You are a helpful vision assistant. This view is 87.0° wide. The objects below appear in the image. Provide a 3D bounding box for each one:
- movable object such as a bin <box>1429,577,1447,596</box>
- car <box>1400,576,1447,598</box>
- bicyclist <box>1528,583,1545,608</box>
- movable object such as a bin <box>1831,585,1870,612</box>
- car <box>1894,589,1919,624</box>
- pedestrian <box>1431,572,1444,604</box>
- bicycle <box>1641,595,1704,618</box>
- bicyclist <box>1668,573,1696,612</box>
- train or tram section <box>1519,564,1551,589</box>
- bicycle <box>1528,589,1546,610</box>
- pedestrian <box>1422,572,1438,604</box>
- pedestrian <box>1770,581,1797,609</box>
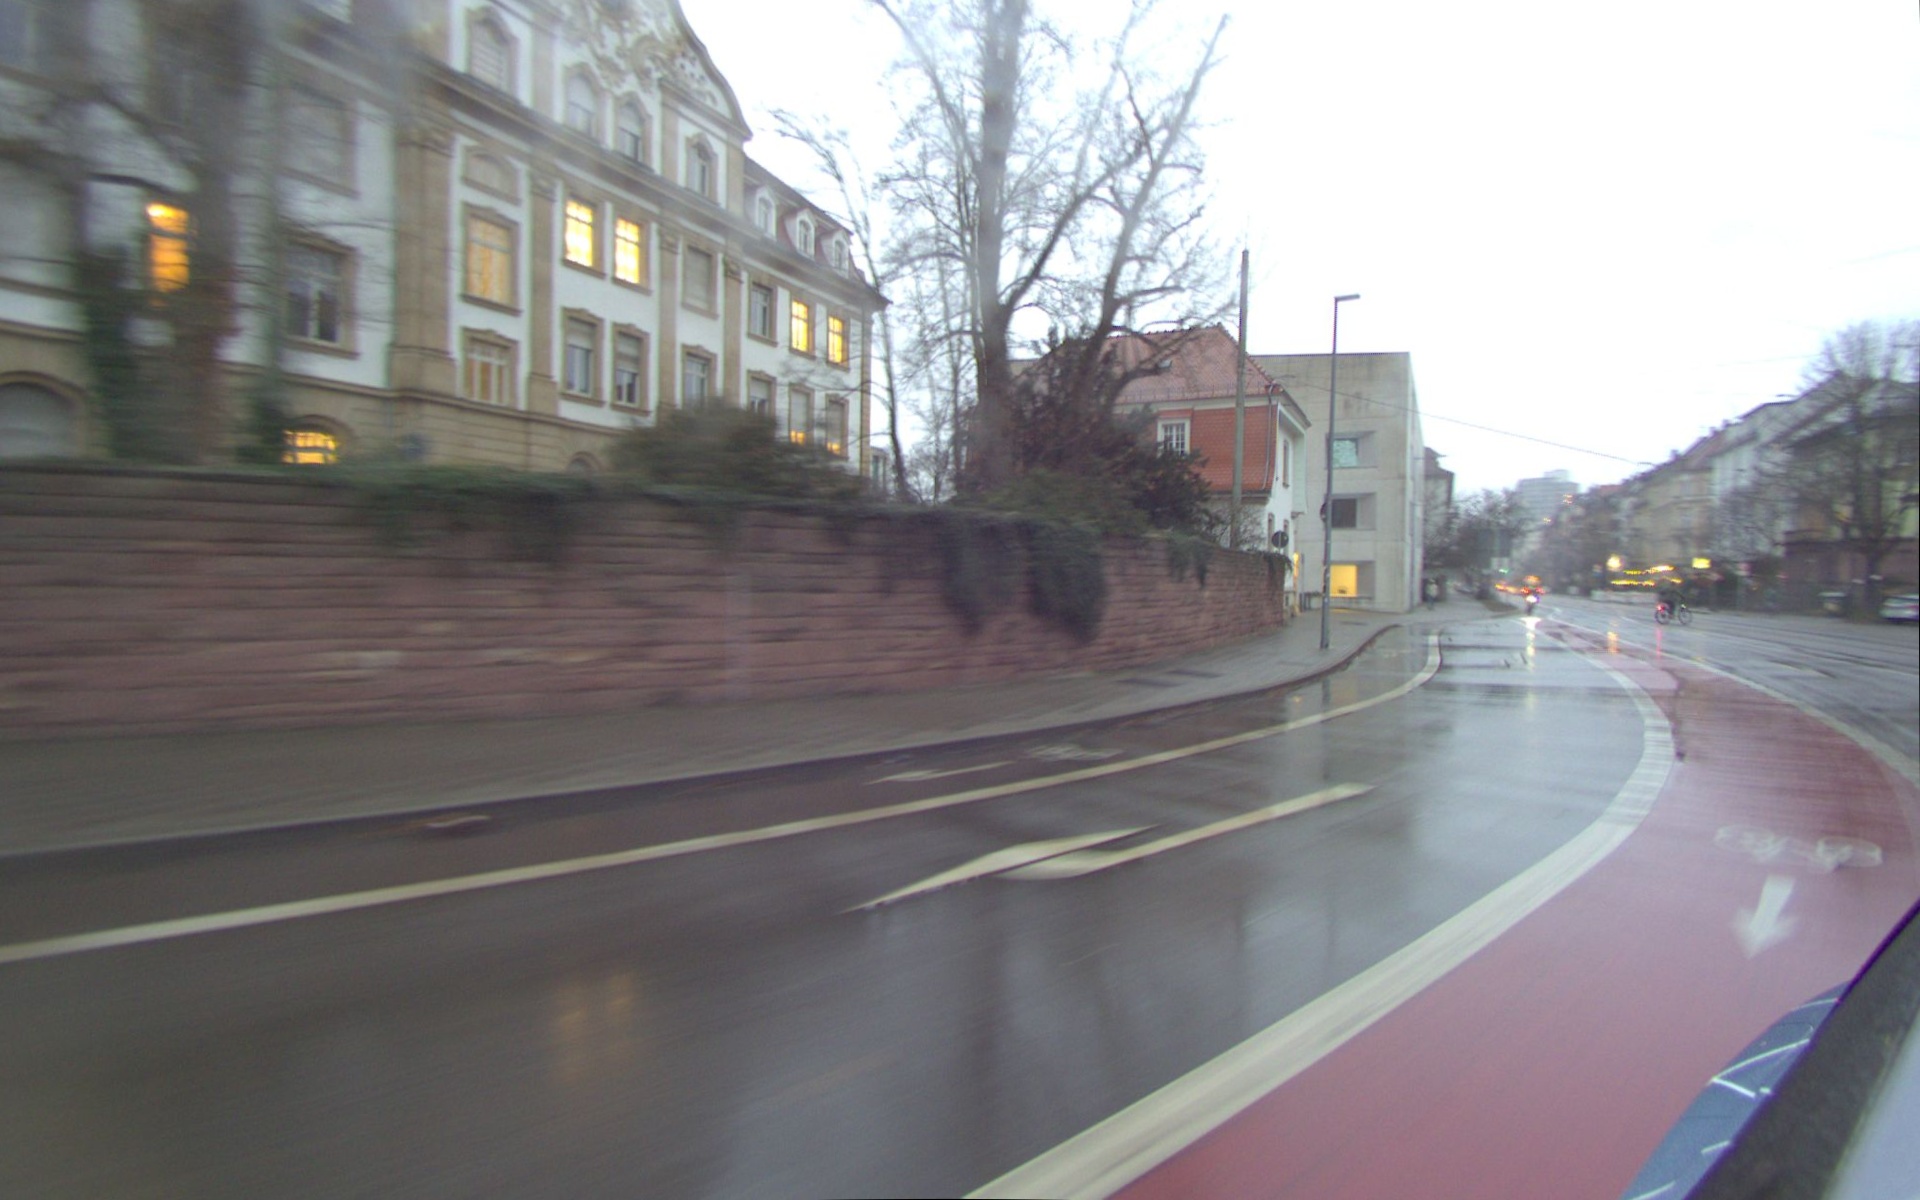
[{"bbox_3d":[38.203,-1.087,80.842,1.248,1.463,1.406,1,1,27],"label":"movable object such as a bin"},{"bbox_3d":[37.308,-1.039,81.471,3.427,1.668,1.716,-1,0,27],"label":"car"},{"bbox_3d":[31.893,-0.227,55.983,0.712,1.360,0.711,-1,0,34],"label":"bicyclist"},{"bbox_3d":[51.523,-0.084,58.588,0.966,1.483,1.346,-1,0,-11],"label":"movable object such as a bin"},{"bbox_3d":[46.992,0.258,47.836,4.103,1.611,1.776,-2,0,-2],"label":"car"},{"bbox_3d":[29.049,-0.747,61.585,0.652,1.882,0.653,2,2,28],"label":"pedestrian"},{"bbox_3d":[30.592,0.281,43.495,2.105,0.956,0.934,-1,0,31],"label":"bicycle"},{"bbox_3d":[30.796,-0.332,43.176,0.850,1.615,0.772,2,2,31],"label":"bicyclist"},{"bbox_3d":[95.876,-3.976,169.007,2.858,3.783,27.091,-1,1,26],"label":"train or tram section"},{"bbox_3d":[31.957,-0.011,56.031,0.719,1.104,2.258,0,-1,33],"label":"bicycle"},{"bbox_3d":[28.703,-0.735,61.793,0.767,1.881,0.711,2,2,29],"label":"pedestrian"},{"bbox_3d":[51.793,-0.287,63.649,0.907,1.724,0.947,-1,0,4],"label":"pedestrian"}]
